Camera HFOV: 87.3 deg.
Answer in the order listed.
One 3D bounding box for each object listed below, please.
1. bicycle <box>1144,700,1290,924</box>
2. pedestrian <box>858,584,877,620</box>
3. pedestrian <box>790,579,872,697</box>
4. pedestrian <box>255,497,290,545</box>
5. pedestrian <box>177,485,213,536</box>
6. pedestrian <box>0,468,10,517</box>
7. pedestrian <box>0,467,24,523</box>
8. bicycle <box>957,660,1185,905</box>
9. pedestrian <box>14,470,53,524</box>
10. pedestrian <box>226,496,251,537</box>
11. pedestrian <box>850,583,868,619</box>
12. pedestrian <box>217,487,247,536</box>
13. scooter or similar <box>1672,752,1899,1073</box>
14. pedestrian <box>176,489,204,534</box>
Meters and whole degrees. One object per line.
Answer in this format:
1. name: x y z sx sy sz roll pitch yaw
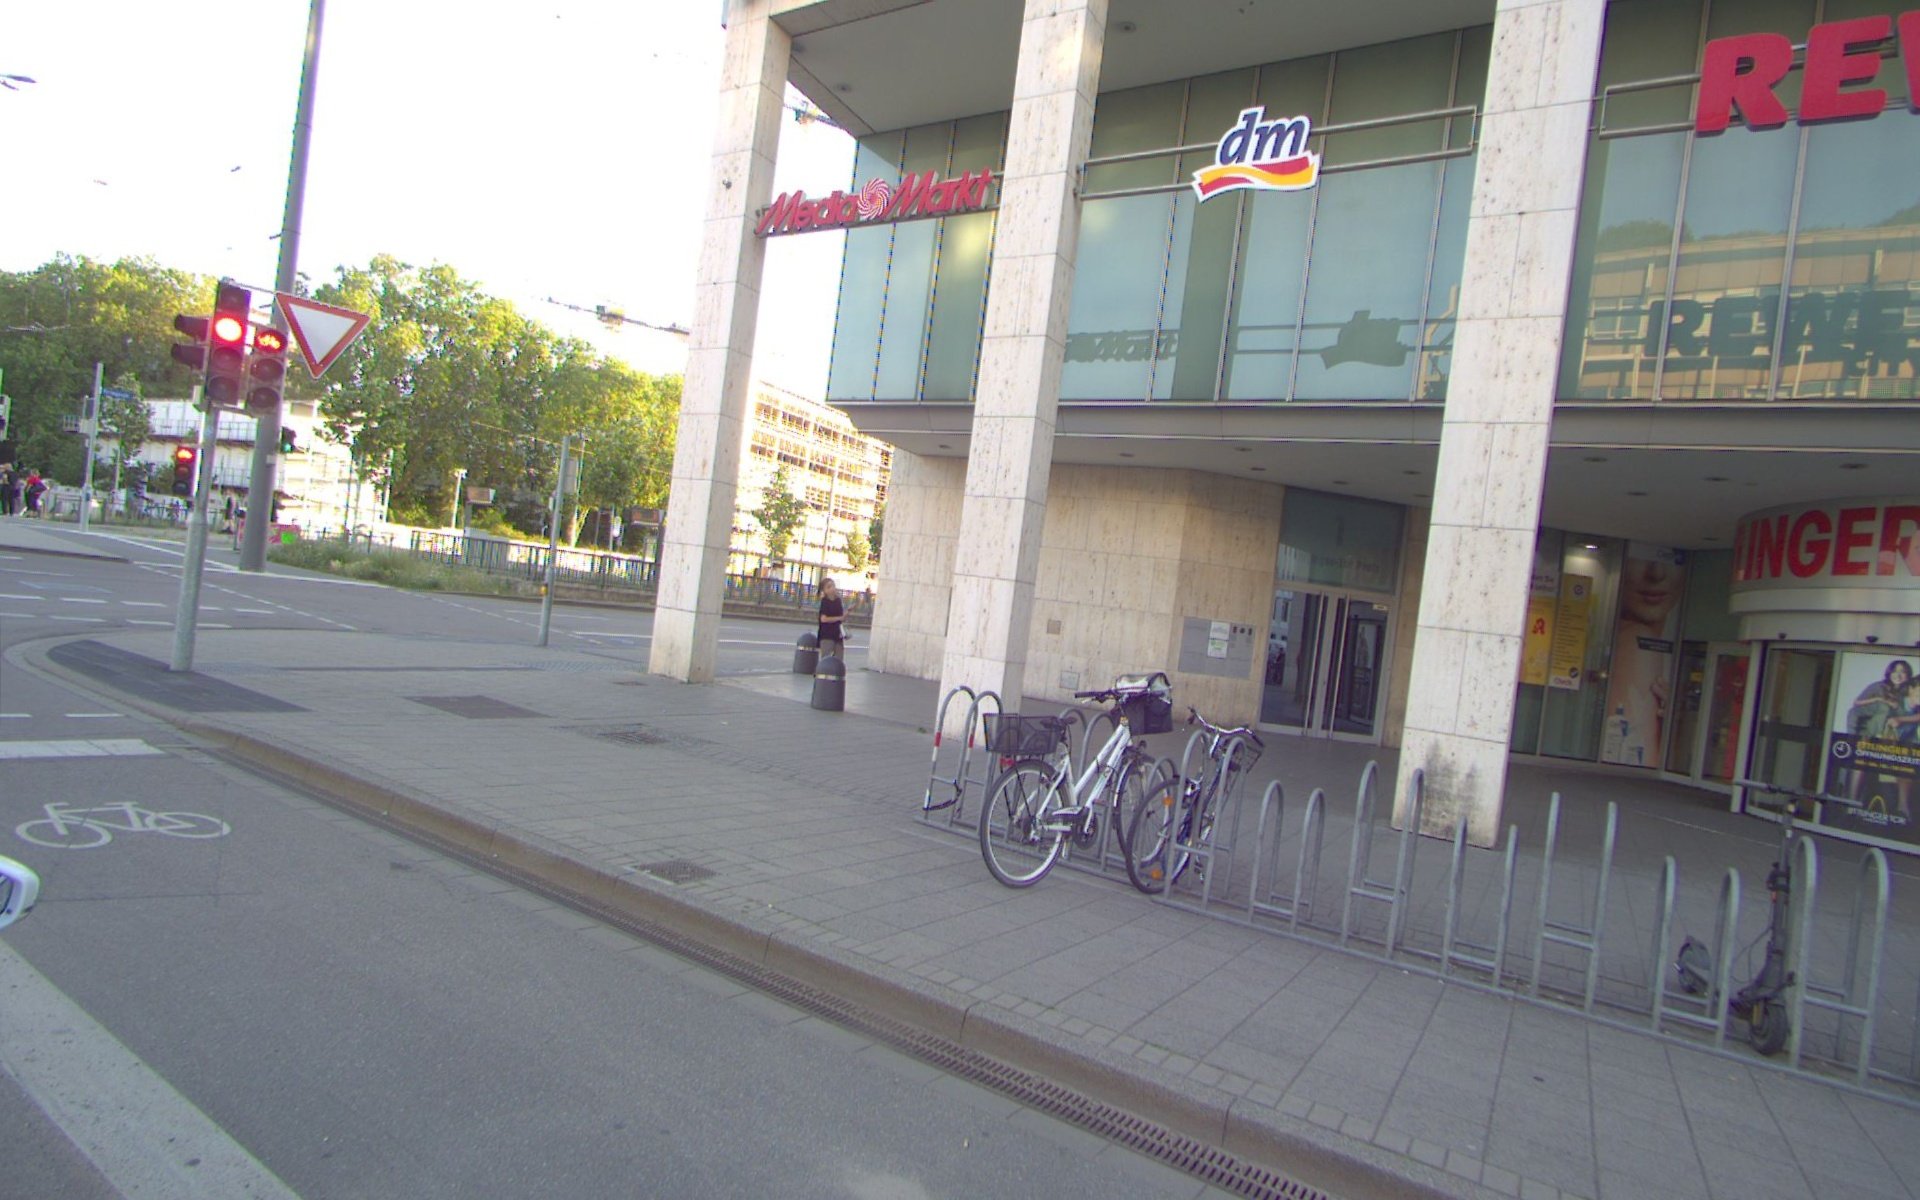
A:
1. bicycle: 1.677 1.241 6.371 0.474 1.092 1.773 8 0 24
2. pedestrian: -5.448 0.137 59.313 0.631 2.039 0.626 8 1 28
3. pedestrian: -1.929 0.572 15.079 0.696 1.659 0.791 8 1 31
4. pedestrian: -27.191 -3.118 39.785 0.699 1.746 0.668 7 1 6
5. pedestrian: -28.516 -3.319 37.514 0.657 1.746 0.712 7 1 -7
6. pedestrian: -33.977 -3.815 35.457 0.570 1.699 0.631 7 1 -44
7. pedestrian: -32.840 -3.642 34.601 0.803 1.814 0.790 7 1 -44
8. bicycle: 0.703 1.007 5.923 0.540 1.198 1.479 8 1 36
9. pedestrian: -32.680 -3.630 35.489 0.696 1.756 0.843 8 1 44
10. pedestrian: -28.104 -3.247 39.177 0.672 1.459 0.707 7 1 -36
11. pedestrian: -5.991 0.076 59.603 0.559 2.039 0.575 8 1 28
12. pedestrian: -27.816 -3.373 38.438 0.708 1.746 0.660 7 1 -41
13. scooter or similar: 3.989 1.438 4.953 0.484 1.214 1.196 8 1 27
14. pedestrian: -29.461 -3.381 38.490 0.527 1.612 0.571 8 1 32
